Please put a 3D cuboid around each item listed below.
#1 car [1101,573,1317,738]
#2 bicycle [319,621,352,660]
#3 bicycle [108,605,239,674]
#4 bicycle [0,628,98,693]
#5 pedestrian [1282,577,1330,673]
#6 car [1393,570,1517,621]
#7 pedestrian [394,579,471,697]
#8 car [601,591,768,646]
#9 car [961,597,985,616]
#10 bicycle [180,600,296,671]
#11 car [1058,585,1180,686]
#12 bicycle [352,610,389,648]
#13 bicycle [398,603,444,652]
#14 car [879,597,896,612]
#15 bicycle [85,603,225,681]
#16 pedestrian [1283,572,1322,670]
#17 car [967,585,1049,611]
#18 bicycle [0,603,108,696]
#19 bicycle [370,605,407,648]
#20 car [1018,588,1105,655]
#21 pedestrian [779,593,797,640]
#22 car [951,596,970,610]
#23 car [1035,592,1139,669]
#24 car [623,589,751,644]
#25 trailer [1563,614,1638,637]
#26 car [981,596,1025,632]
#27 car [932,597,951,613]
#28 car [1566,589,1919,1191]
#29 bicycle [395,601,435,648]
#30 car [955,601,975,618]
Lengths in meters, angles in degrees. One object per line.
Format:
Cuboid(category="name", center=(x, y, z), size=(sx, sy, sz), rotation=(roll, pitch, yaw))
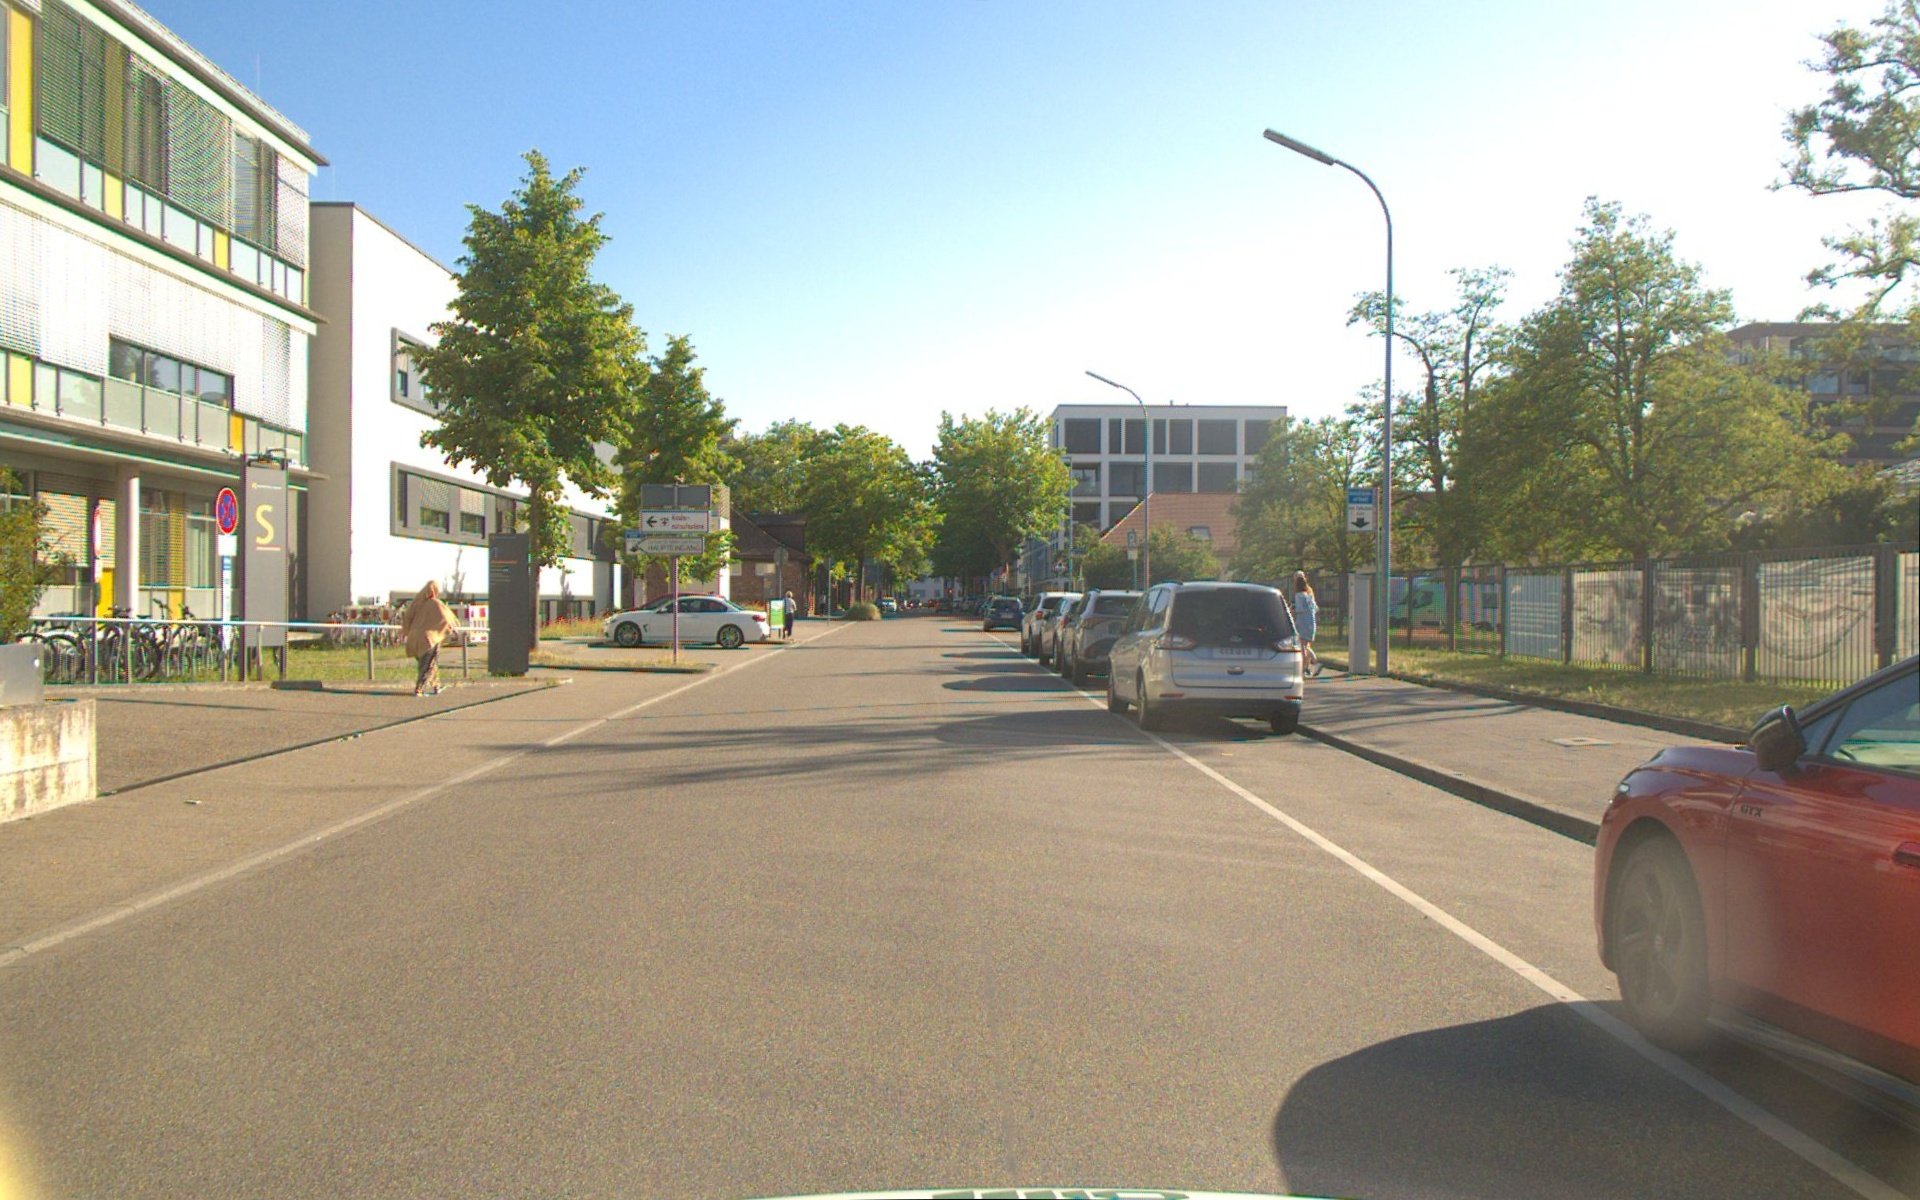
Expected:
Cuboid(category="car", center=(2.939, 0.598, 20.515), size=(1.773, 1.752, 4.702), rotation=(2, 0, -2))
Cuboid(category="bicycle", center=(-14.972, 0.967, 39.664), size=(0.249, 0.888, 1.450), rotation=(0, 0, 0))
Cuboid(category="bicycle", center=(-11.686, 0.581, 24.603), size=(1.681, 0.991, 0.536), rotation=(0, 0, -3))
Cuboid(category="bicycle", center=(-14.862, 0.970, 26.625), size=(1.680, 1.011, 0.536), rotation=(0, 0, -3))
Cuboid(category="pedestrian", center=(6.036, 0.429, 28.869), size=(0.667, 1.640, 0.540), rotation=(2, -1, -4))
Cuboid(category="car", center=(22.800, -0.227, 76.404), size=(5.173, 2.240, 2.001), rotation=(0, 1, 5))
Cuboid(category="pedestrian", center=(-7.289, 0.516, 22.871), size=(0.757, 1.576, 0.780), rotation=(2, -1, -1))
Cuboid(category="car", center=(-7.547, 0.499, 45.611), size=(4.425, 1.391, 1.698), rotation=(1, 0, -6))
Cuboid(category="car", center=(1.046, 0.526, 131.975), size=(1.731, 1.465, 3.998), rotation=(0, 0, -2))
Cuboid(category="bicycle", center=(-11.742, 0.572, 26.913), size=(1.667, 1.141, 0.536), rotation=(0, 0, 4))
Cuboid(category="car", center=(2.782, 0.588, 29.793), size=(1.666, 1.634, 4.352), rotation=(2, 0, -1))
Cuboid(category="bicycle", center=(-13.954, 0.682, 39.199), size=(0.361, 0.878, 1.450), rotation=(0, 0, 0))
Cuboid(category="bicycle", center=(-12.891, 0.644, 39.598), size=(0.524, 1.131, 1.860), rotation=(0, 0, -1))
Cuboid(category="car", center=(-7.473, 0.480, 171.609), size=(1.731, 1.513, 3.998), rotation=(0, 0, -2))
Cuboid(category="bicycle", center=(-11.301, 0.585, 23.239), size=(1.681, 1.074, 0.536), rotation=(0, 0, -3))
Cuboid(category="pedestrian", center=(6.180, 0.382, 29.868), size=(0.511, 1.738, 0.522), rotation=(2, -1, -4))
Cuboid(category="car", center=(2.782, -0.113, 95.804), size=(4.466, 1.467, 1.753), rotation=(0, 0, -26))
Cuboid(category="bicycle", center=(-11.733, 0.617, 20.835), size=(1.684, 1.143, 0.535), rotation=(0, 0, -11))
Cuboid(category="bicycle", center=(-13.572, 0.618, 39.307), size=(0.387, 1.006, 1.450), rotation=(0, 0, 0))
Cuboid(category="car", center=(2.607, 0.518, 43.366), size=(1.777, 1.616, 4.260), rotation=(2, 0, -3))
Cuboid(category="pedestrian", center=(-5.714, 0.529, 54.892), size=(0.527, 1.550, 0.607), rotation=(0, 0, 0))
Cuboid(category="car", center=(0.063, 0.306, 177.067), size=(1.953, 1.491, 3.836), rotation=(0, 0, 0))
Cuboid(category="car", center=(2.677, 0.605, 35.651), size=(1.667, 1.513, 3.977), rotation=(2, 0, -4))
Cuboid(category="car", center=(-7.981, 0.484, 48.566), size=(3.565, 1.494, 1.612), rotation=(1, 0, -6))
Cuboid(category="trailer", center=(28.144, 1.097, 72.827), size=(1.857, 0.936, 5.113), rotation=(0, 0, 7))
Cuboid(category="car", center=(1.805, 0.575, 70.998), size=(1.780, 1.478, 4.214), rotation=(0, 0, 0))
Cuboid(category="car", center=(-1.855, 0.503, 164.136), size=(1.731, 1.575, 4.064), rotation=(0, 0, -2))
Cuboid(category="car", center=(3.359, 0.767, 4.146), size=(1.773, 1.536, 4.720), rotation=(2, 0, -2))
Cuboid(category="bicycle", center=(-13.527, 0.591, 41.081), size=(0.411, 1.143, 1.763), rotation=(0, 0, 0))
Cuboid(category="car", center=(0.492, 0.909, 160.950), size=(1.910, 1.606, 3.836), rotation=(0, 0, 0))
